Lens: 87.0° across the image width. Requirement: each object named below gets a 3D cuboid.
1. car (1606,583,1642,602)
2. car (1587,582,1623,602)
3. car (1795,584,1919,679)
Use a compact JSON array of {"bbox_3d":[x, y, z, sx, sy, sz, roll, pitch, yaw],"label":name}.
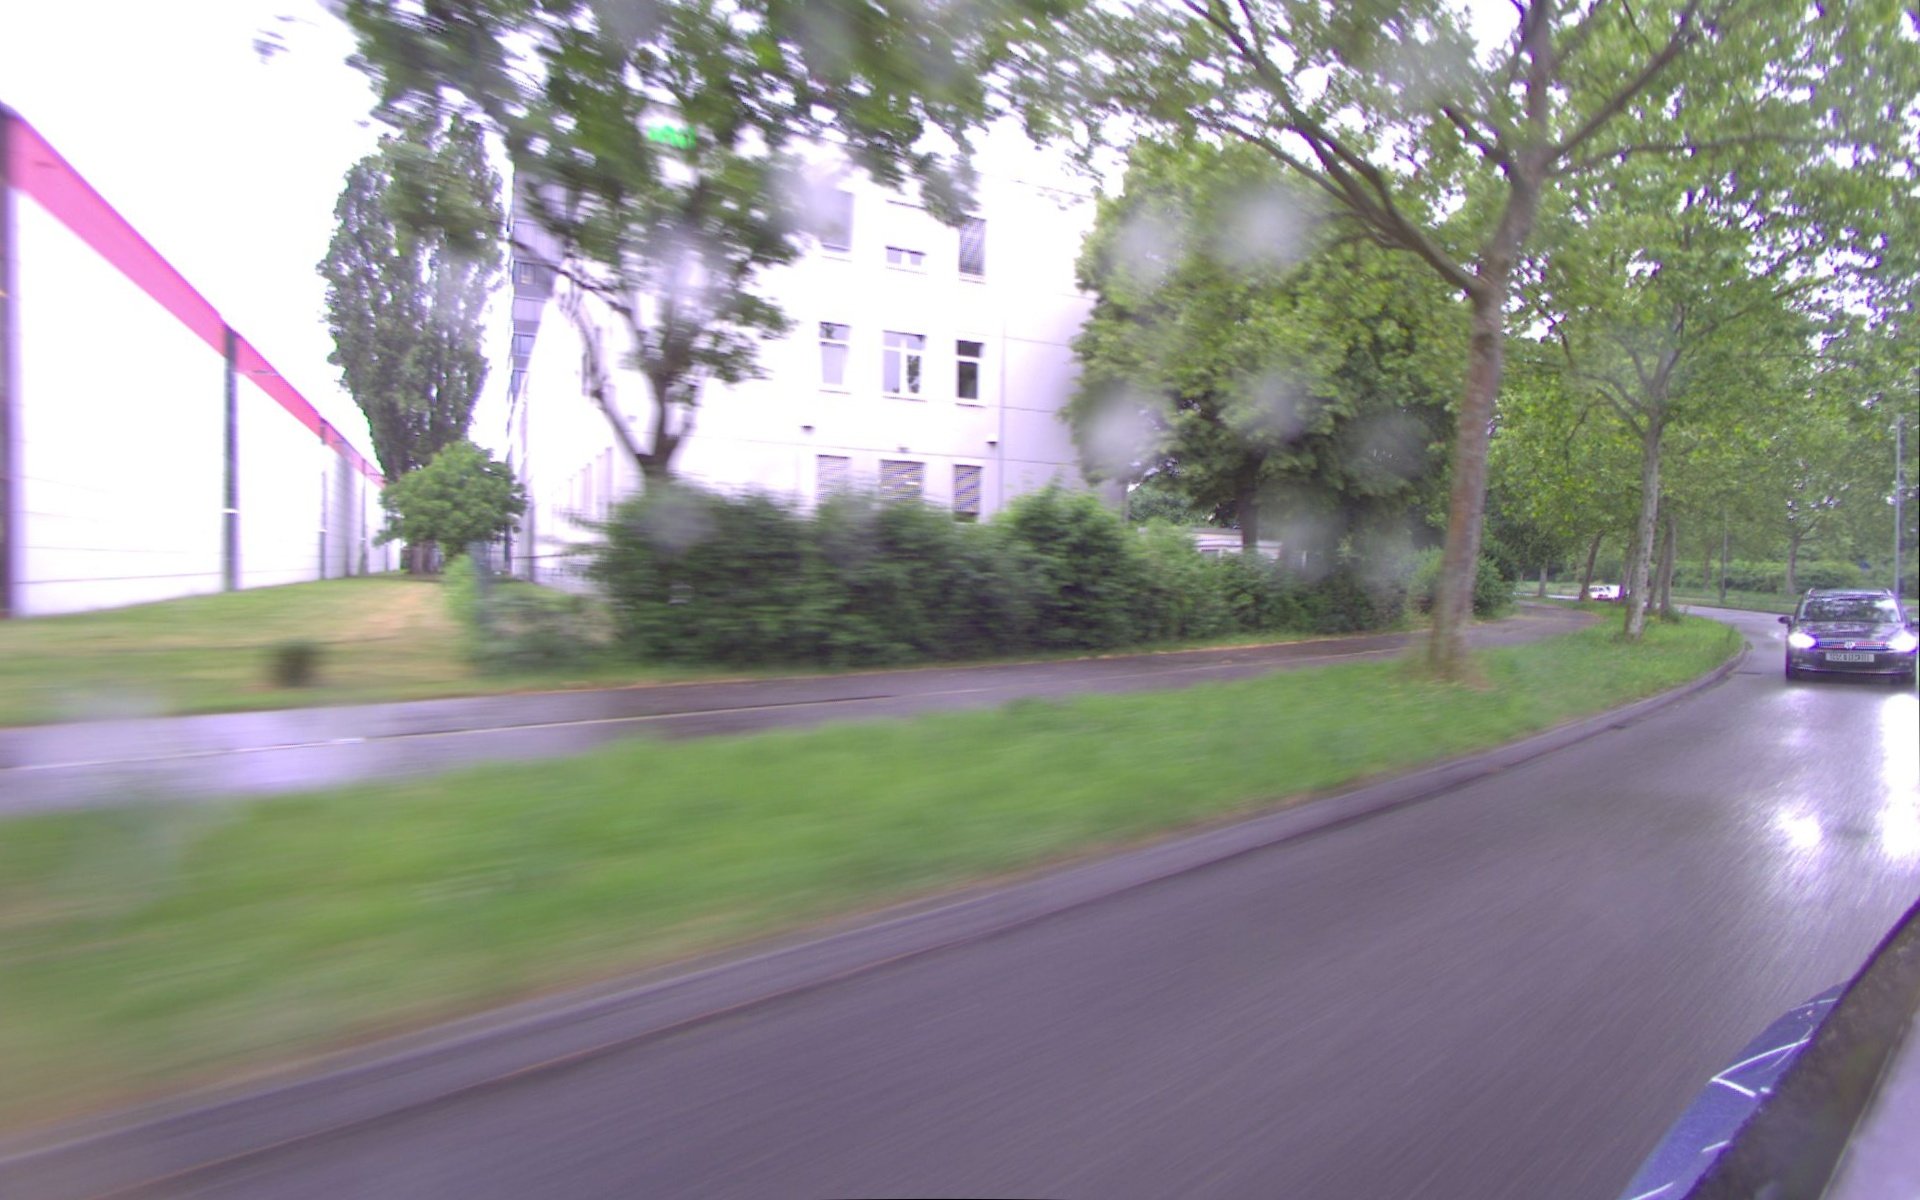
[{"bbox_3d":[58.605,-0.666,89.355,1.764,1.575,3.973,1,1,21],"label":"car"},{"bbox_3d":[54.595,-0.693,85.729,1.763,1.575,3.974,1,1,20],"label":"car"},{"bbox_3d":[16.848,0.506,18.828,1.779,1.575,3.938,-1,0,43],"label":"car"}]
